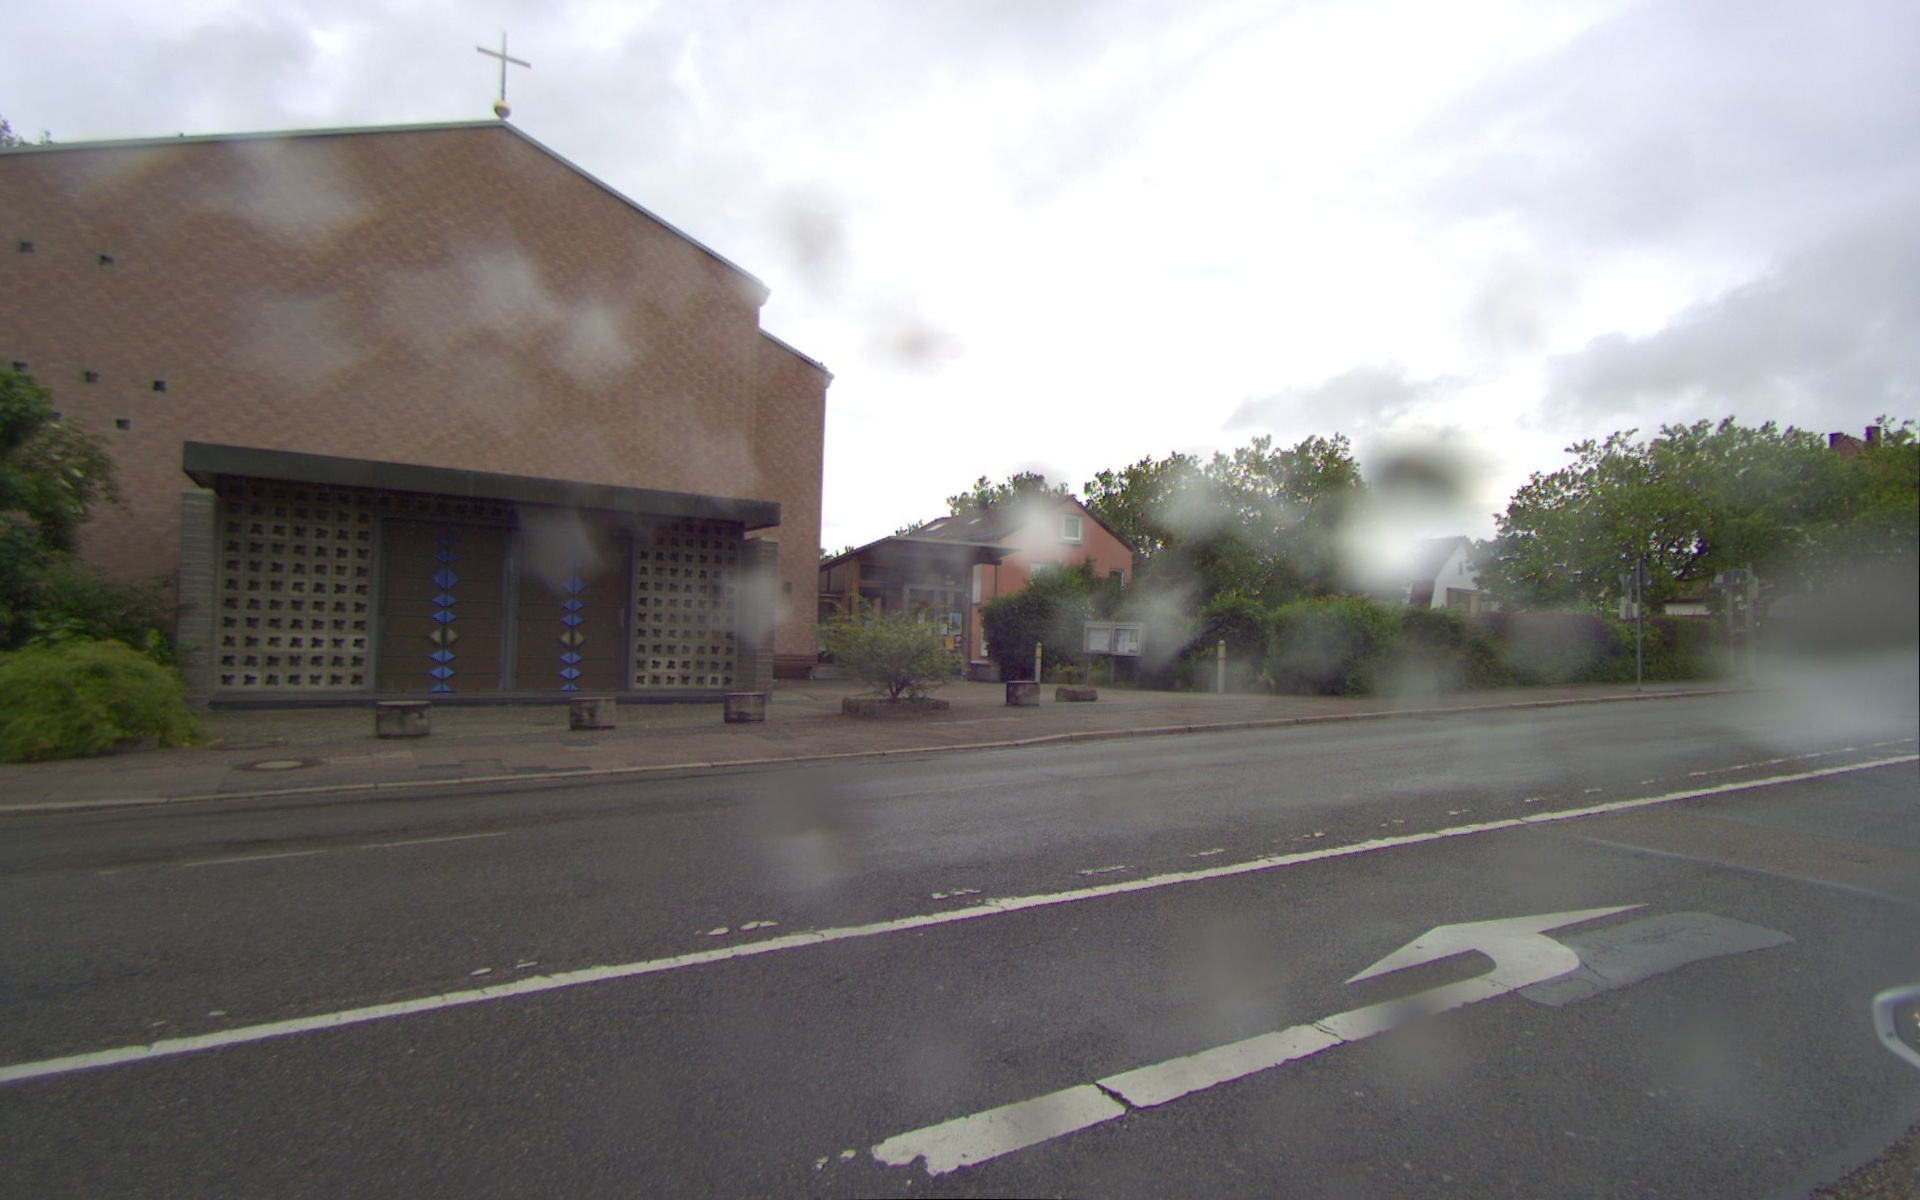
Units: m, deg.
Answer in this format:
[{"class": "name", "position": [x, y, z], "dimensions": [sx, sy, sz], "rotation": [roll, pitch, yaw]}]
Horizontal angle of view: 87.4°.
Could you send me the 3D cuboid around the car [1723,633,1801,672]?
[{"class": "car", "position": [39.196, 2.525, 49.069], "dimensions": [3.955, 1.573, 1.798], "rotation": [-3, 2, -32]}]
